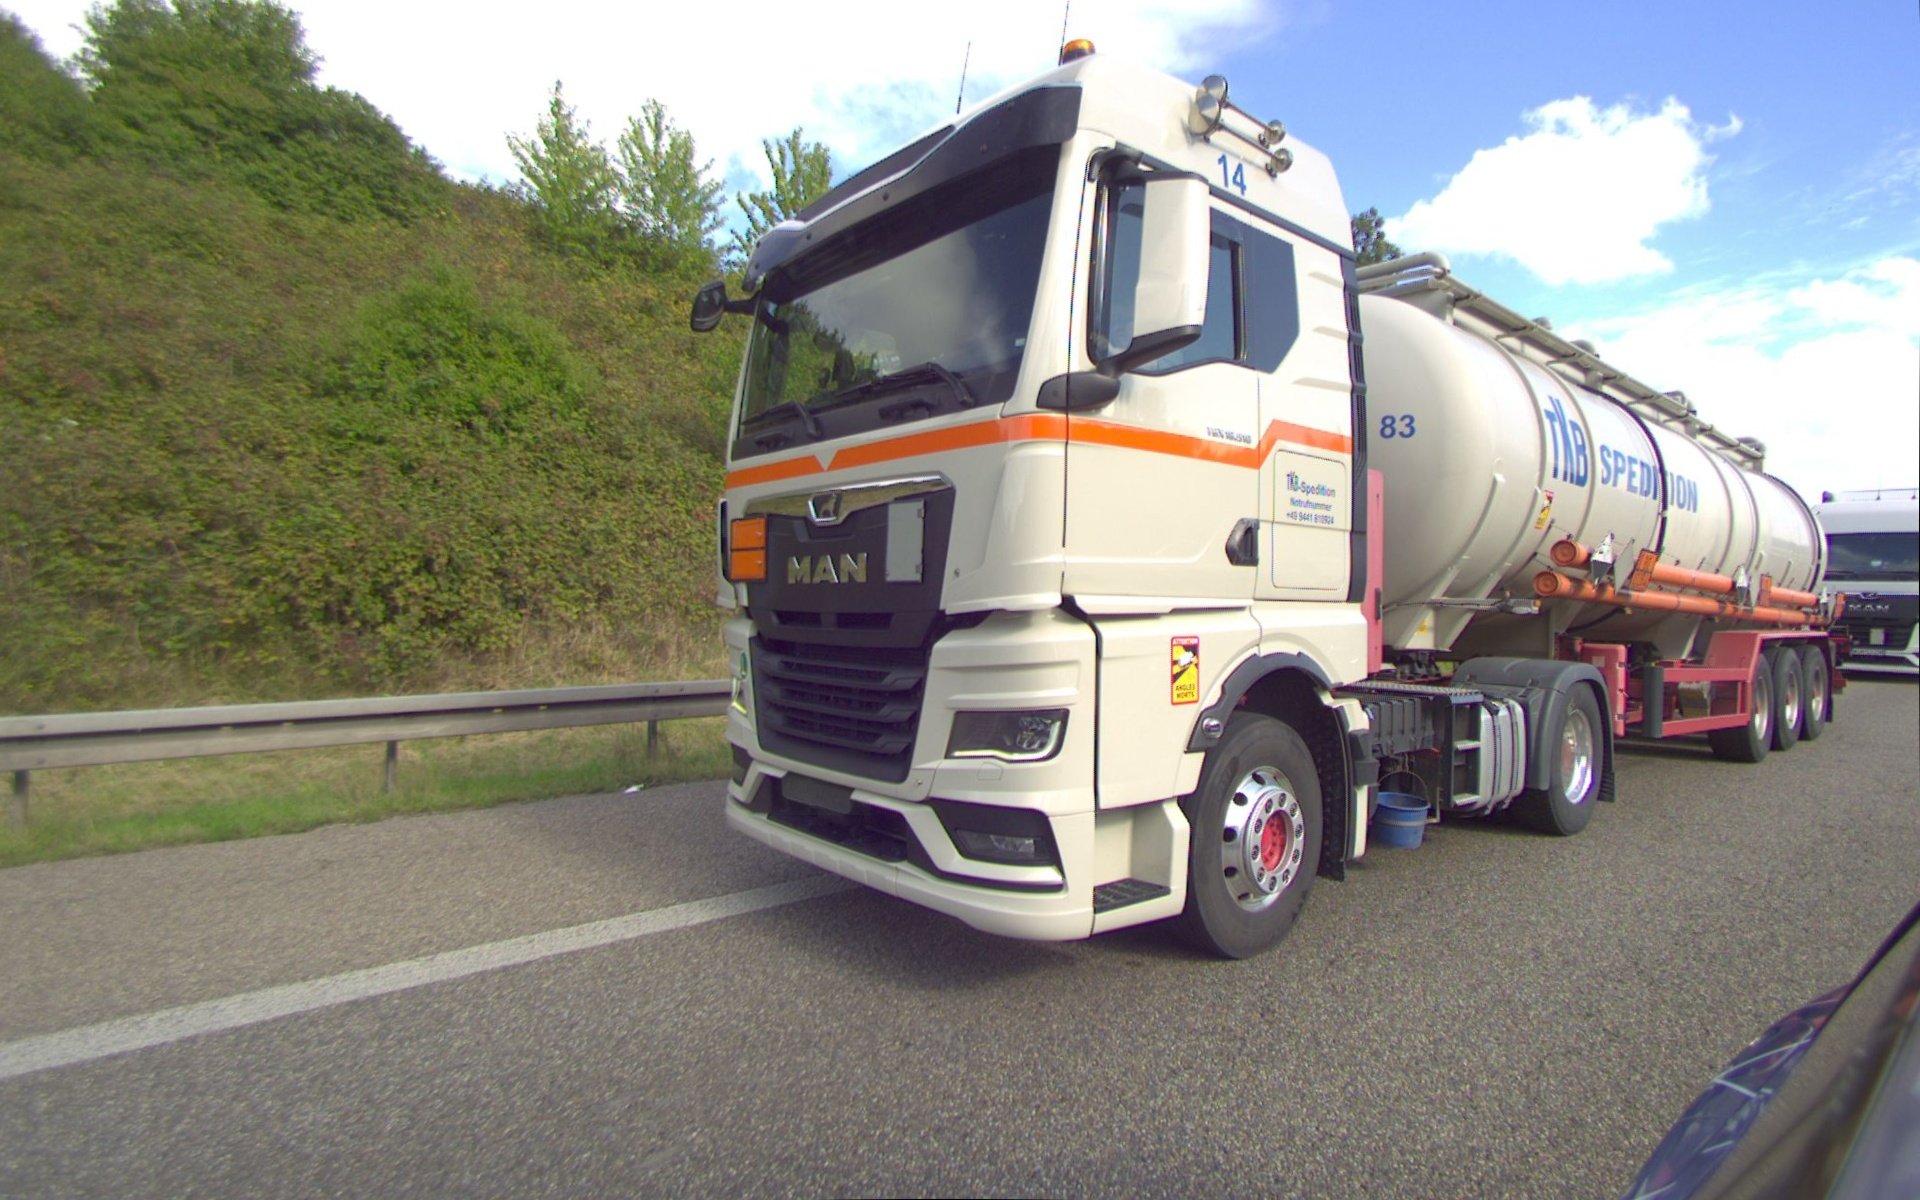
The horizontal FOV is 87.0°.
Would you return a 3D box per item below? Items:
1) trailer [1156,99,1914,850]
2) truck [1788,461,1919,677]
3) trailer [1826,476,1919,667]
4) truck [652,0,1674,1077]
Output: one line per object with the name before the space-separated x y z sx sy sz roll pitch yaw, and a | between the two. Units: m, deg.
trailer | 6.623 -0.711 10.079 10.981 4.077 2.804 0 0 -39
truck | 20.154 -0.610 21.555 5.605 4.123 2.840 0 0 -39
trailer | 25.709 -0.636 26.123 13.131 4.122 2.832 0 1 -39
truck | 1.557 -0.674 5.903 5.797 4.094 2.809 0 0 -39
